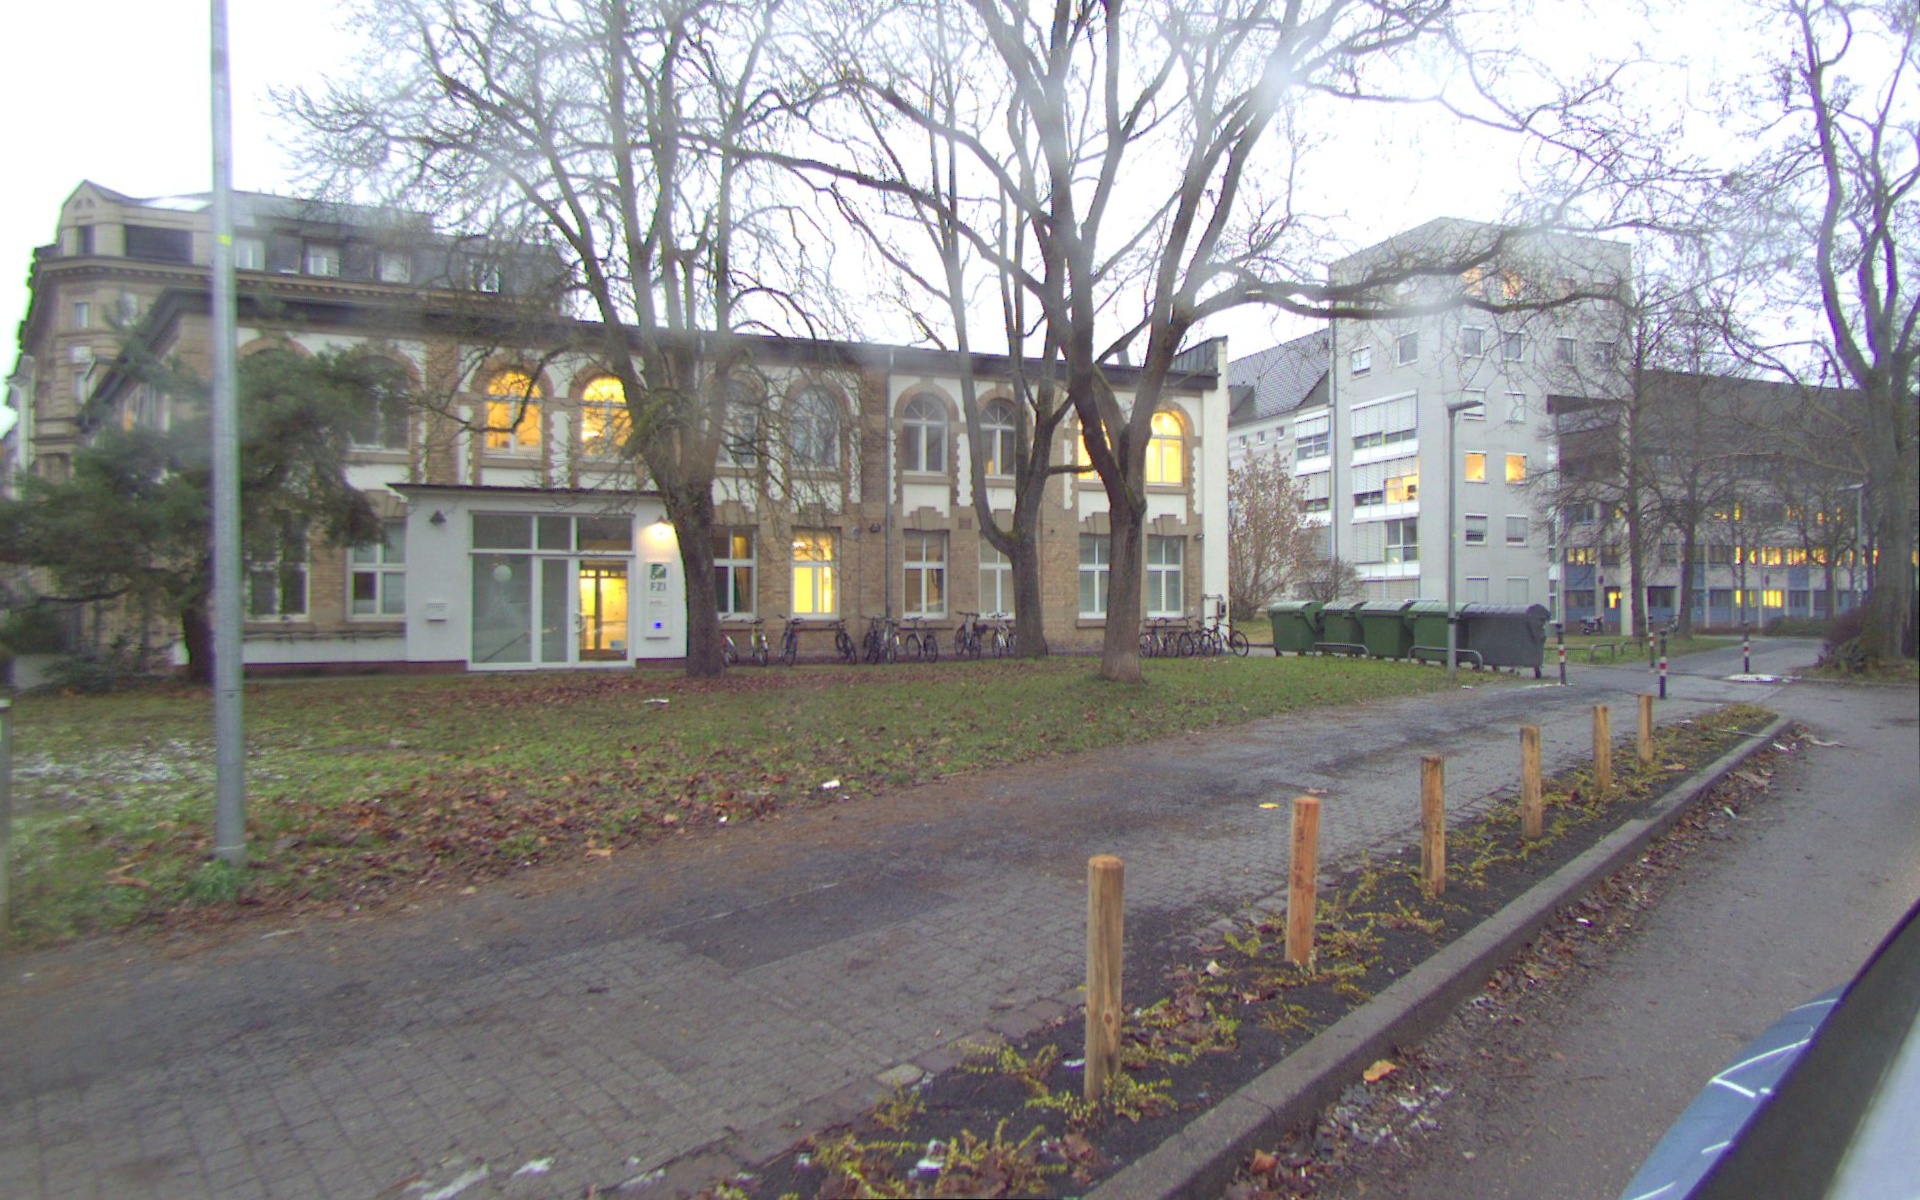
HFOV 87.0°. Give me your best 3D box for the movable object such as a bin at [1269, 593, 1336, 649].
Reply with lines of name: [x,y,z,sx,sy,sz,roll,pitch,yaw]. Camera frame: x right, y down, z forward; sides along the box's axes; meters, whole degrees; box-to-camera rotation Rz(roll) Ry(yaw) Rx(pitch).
movable object such as a bin: [8.465,0.497,25.031,0.967,1.330,1.266,0,0,-22]

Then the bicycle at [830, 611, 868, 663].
bicycle: [-2.611,0.834,23.657,0.561,1.063,2.147,0,2,-15]

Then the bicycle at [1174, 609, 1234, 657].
bicycle: [6.407,0.832,26.672,0.561,1.171,2.146,0,0,-15]

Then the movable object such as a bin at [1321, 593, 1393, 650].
movable object such as a bin: [9.303,0.488,23.765,0.967,1.296,1.254,0,0,-22]

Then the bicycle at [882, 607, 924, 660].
bicycle: [-1.380,0.771,24.013,0.561,1.171,2.146,0,0,-15]

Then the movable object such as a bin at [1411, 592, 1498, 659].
movable object such as a bin: [10.210,0.494,20.944,0.967,1.330,1.310,0,0,-22]

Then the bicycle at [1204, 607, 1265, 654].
bicycle: [7.303,0.778,27.040,0.561,1.171,2.146,0,0,-15]

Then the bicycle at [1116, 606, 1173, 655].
bicycle: [4.700,0.762,25.974,0.561,1.171,2.146,0,0,-15]

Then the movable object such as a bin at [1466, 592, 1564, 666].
movable object such as a bin: [10.744,0.534,19.617,1.043,1.333,1.324,-1,2,-35]

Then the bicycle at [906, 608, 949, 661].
bicycle: [-0.799,0.785,24.189,0.561,1.171,2.146,0,0,-15]

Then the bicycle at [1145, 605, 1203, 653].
bicycle: [5.522,0.723,26.265,0.561,1.171,2.146,0,0,-15]

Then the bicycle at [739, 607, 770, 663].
bicycle: [-4.660,0.756,22.862,0.561,1.171,2.146,0,0,-15]

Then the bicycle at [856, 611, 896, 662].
bicycle: [-2.001,0.836,23.846,0.561,1.029,2.147,0,2,-15]

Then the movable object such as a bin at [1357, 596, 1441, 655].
movable object such as a bin: [9.699,0.535,22.400,0.967,1.240,1.441,0,0,-22]

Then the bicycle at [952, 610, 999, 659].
bicycle: [0.349,0.808,24.593,0.561,1.106,2.146,0,0,-15]

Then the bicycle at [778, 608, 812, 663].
bicycle: [-3.786,0.781,23.117,0.561,1.171,2.146,0,0,-15]

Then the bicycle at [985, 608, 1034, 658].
bicycle: [1.197,0.788,24.877,0.561,1.124,2.146,0,0,-15]
